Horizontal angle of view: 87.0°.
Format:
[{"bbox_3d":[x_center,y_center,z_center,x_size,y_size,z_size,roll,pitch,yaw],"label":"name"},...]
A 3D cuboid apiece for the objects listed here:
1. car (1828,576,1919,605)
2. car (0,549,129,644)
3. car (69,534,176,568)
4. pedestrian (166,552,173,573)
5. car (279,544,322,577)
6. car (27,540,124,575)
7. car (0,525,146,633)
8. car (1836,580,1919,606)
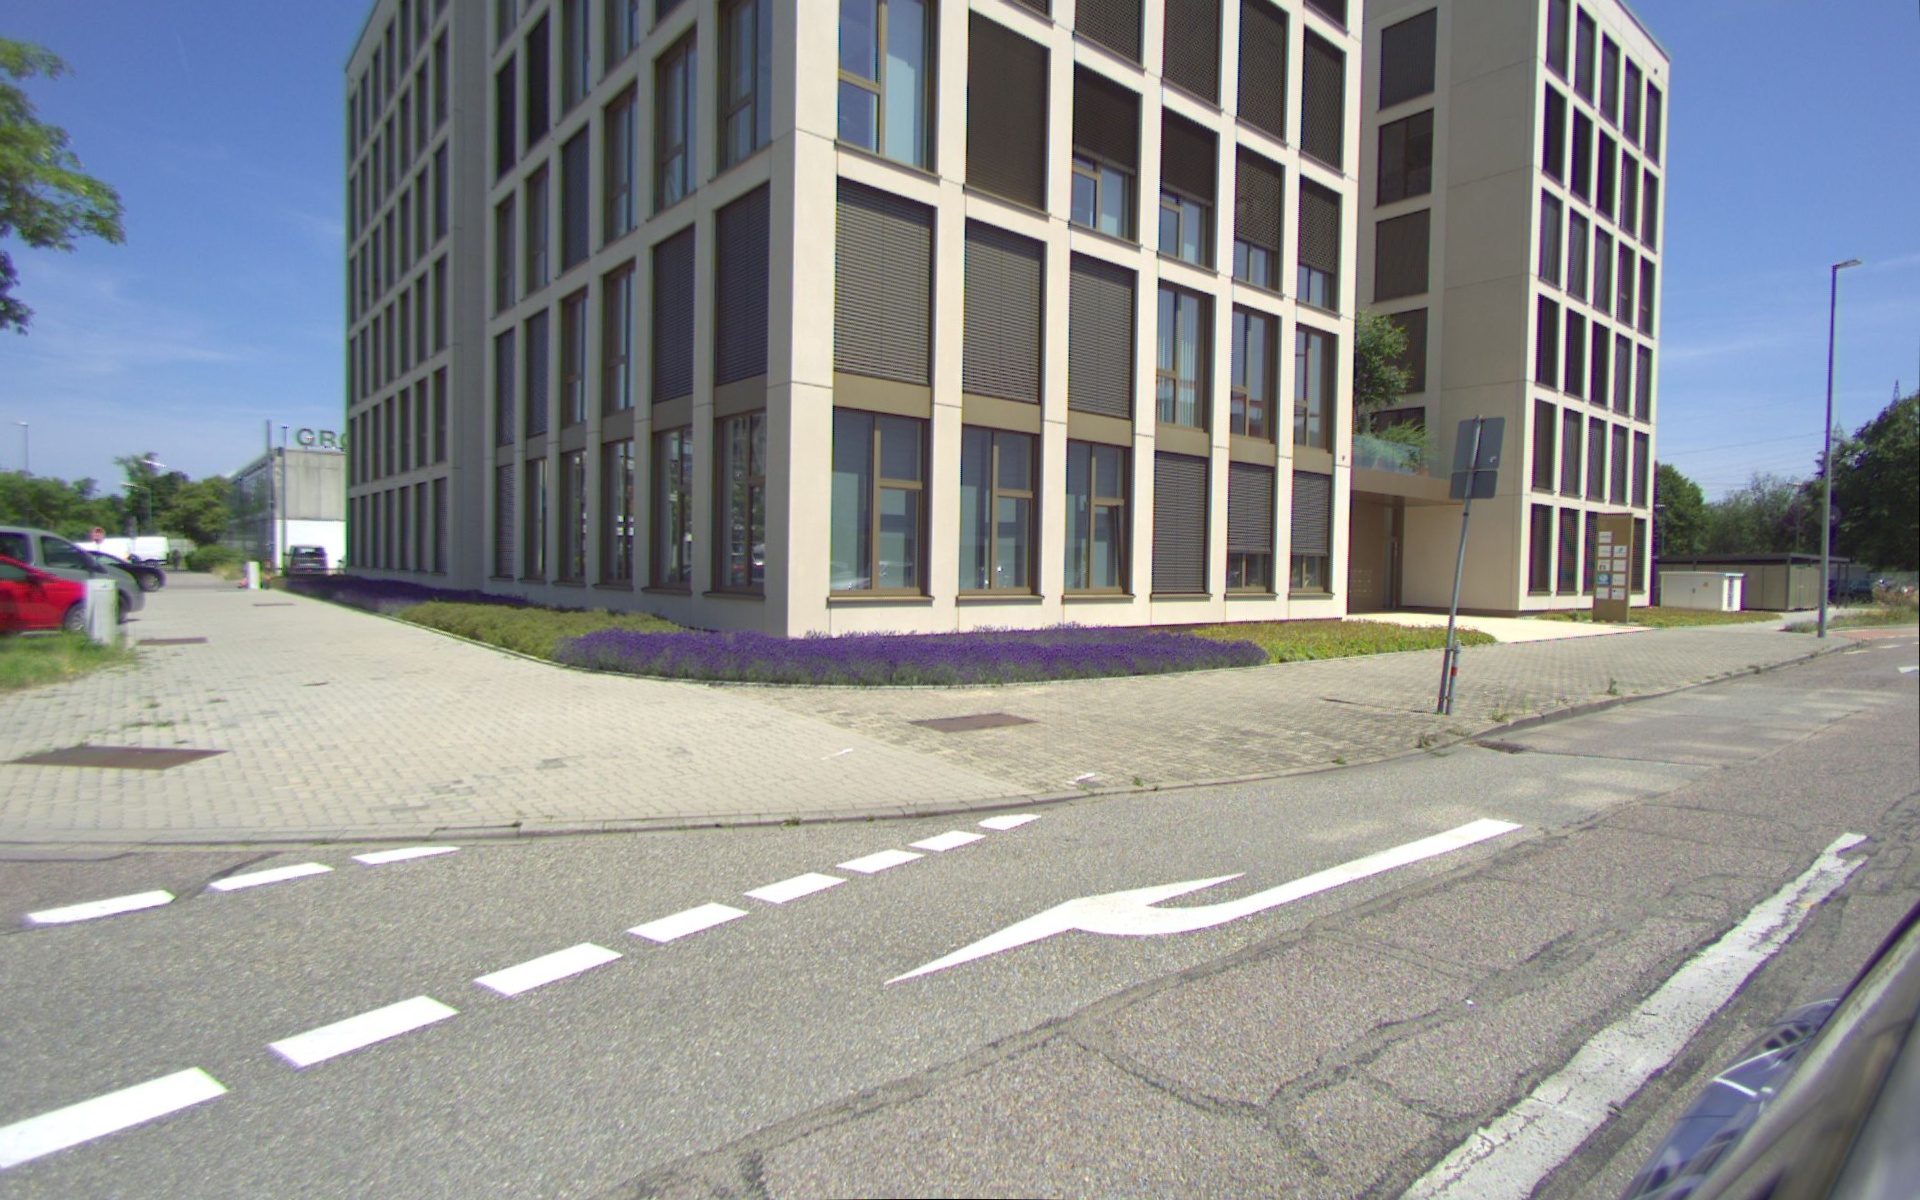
[{"bbox_3d":[53.674,-0.568,59.536,3.810,1.571,1.716,2,2,36],"label":"car"},{"bbox_3d":[-15.469,-0.061,15.604,1.672,1.449,3.990,1,3,10],"label":"car"},{"bbox_3d":[-67.520,-3.925,81.799,6.573,2.552,2.217,-1,0,-38],"label":"car"},{"bbox_3d":[-58.705,-2.798,75.180,0.397,1.579,0.549,0,2,-39],"label":"pedestrian"},{"bbox_3d":[-38.093,-2.233,58.415,1.763,1.749,3.997,0,0,-38],"label":"car"},{"bbox_3d":[-55.165,-2.622,63.222,4.495,2.039,1.997,-1,0,-40],"label":"car"},{"bbox_3d":[-17.913,-0.401,18.476,1.886,1.910,4.927,1,1,5],"label":"car"},{"bbox_3d":[55.261,-0.445,60.763,3.810,1.411,1.716,2,2,36],"label":"car"}]
